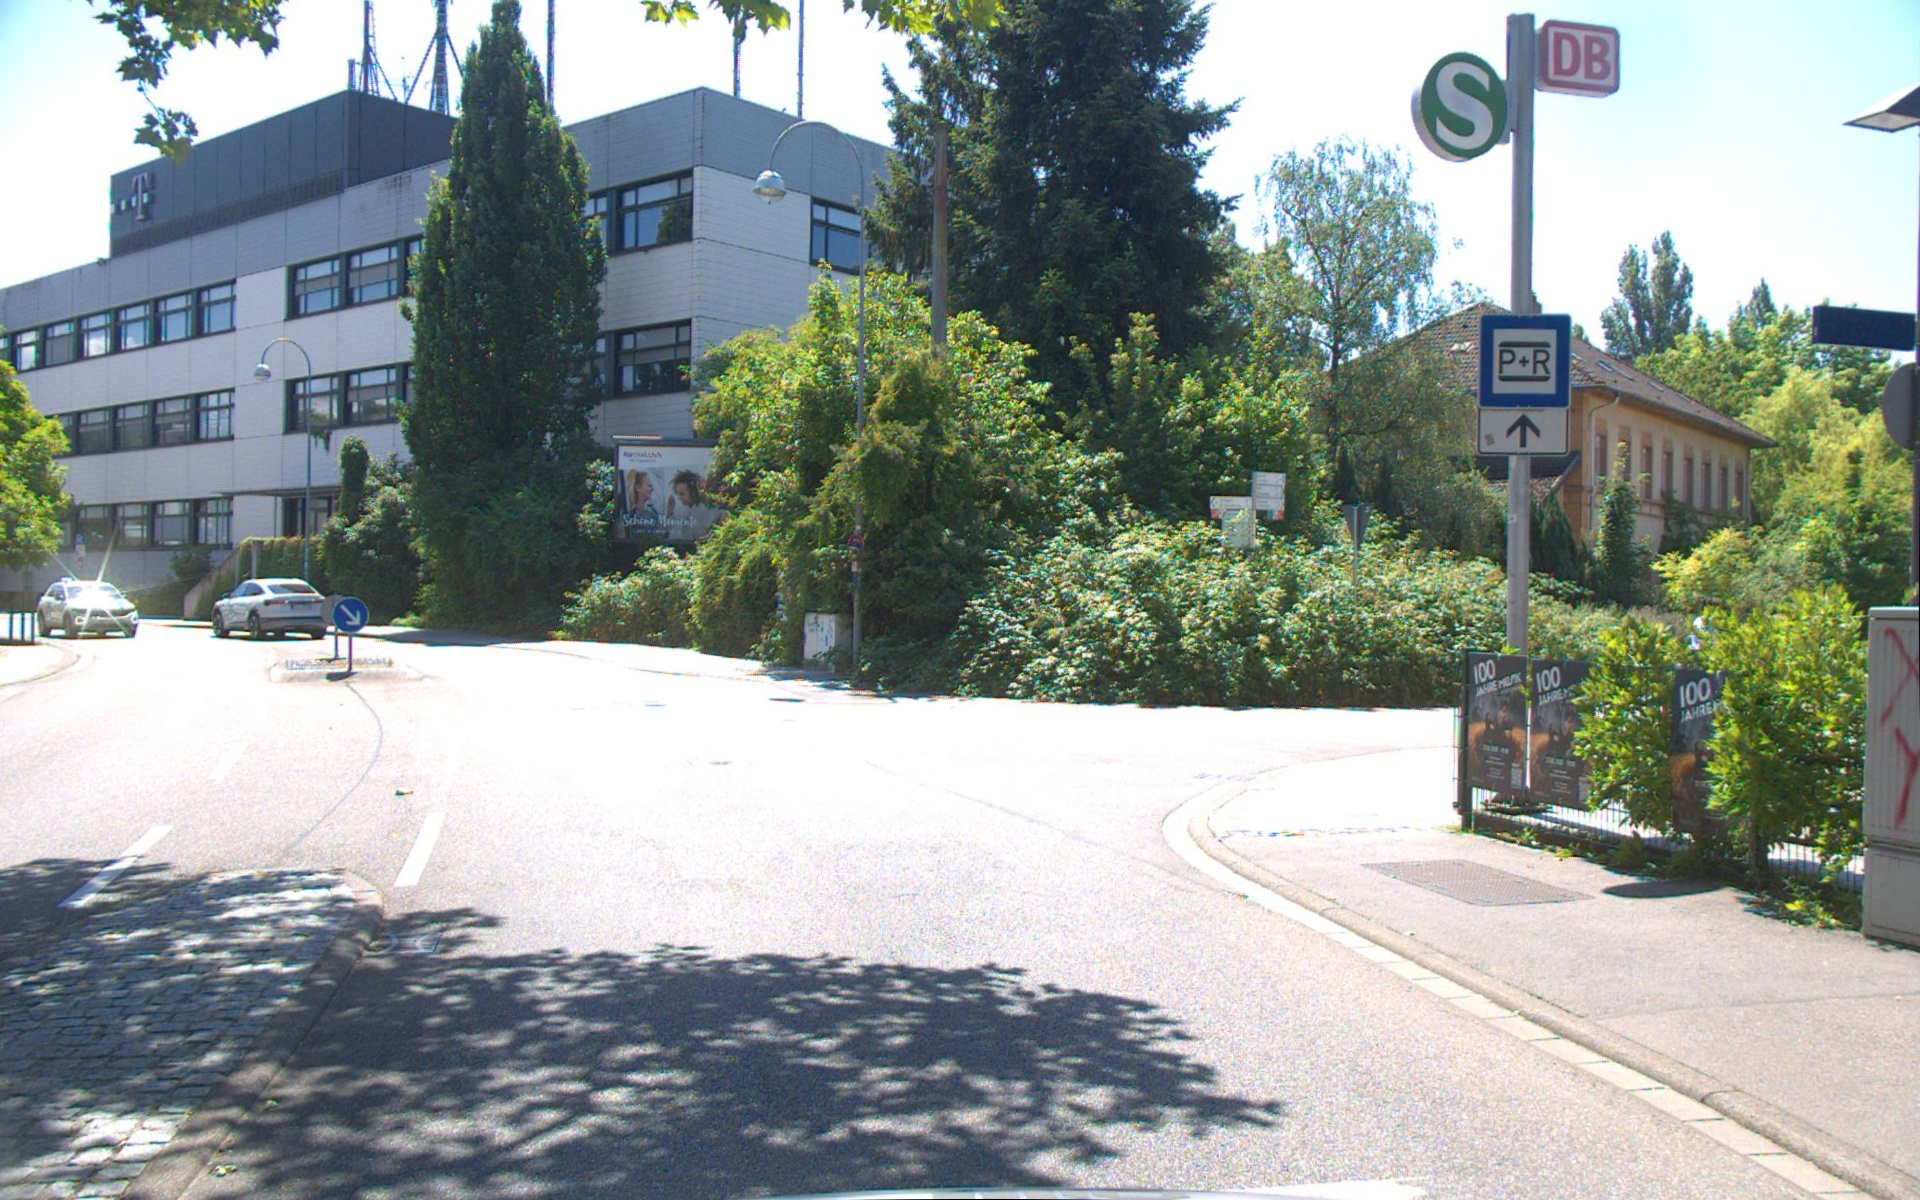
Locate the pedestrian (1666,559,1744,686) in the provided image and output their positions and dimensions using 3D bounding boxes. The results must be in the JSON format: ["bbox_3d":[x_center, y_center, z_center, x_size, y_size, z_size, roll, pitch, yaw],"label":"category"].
[{"bbox_3d":[9.938,0.283,22.068,0.605,1.656,0.697,0,2,-17],"label":"pedestrian"}]

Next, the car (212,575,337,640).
[{"bbox_3d":[-19.378,0.157,46.658,1.926,1.642,4.404,-2,3,-42],"label":"car"}]

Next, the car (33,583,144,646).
[{"bbox_3d":[-25.161,0.370,47.691,1.863,1.651,4.238,-1,2,-42],"label":"car"}]

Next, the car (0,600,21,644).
[{"bbox_3d":[-34.299,0.758,56.859,4.213,1.460,1.759,0,1,33],"label":"car"}]
